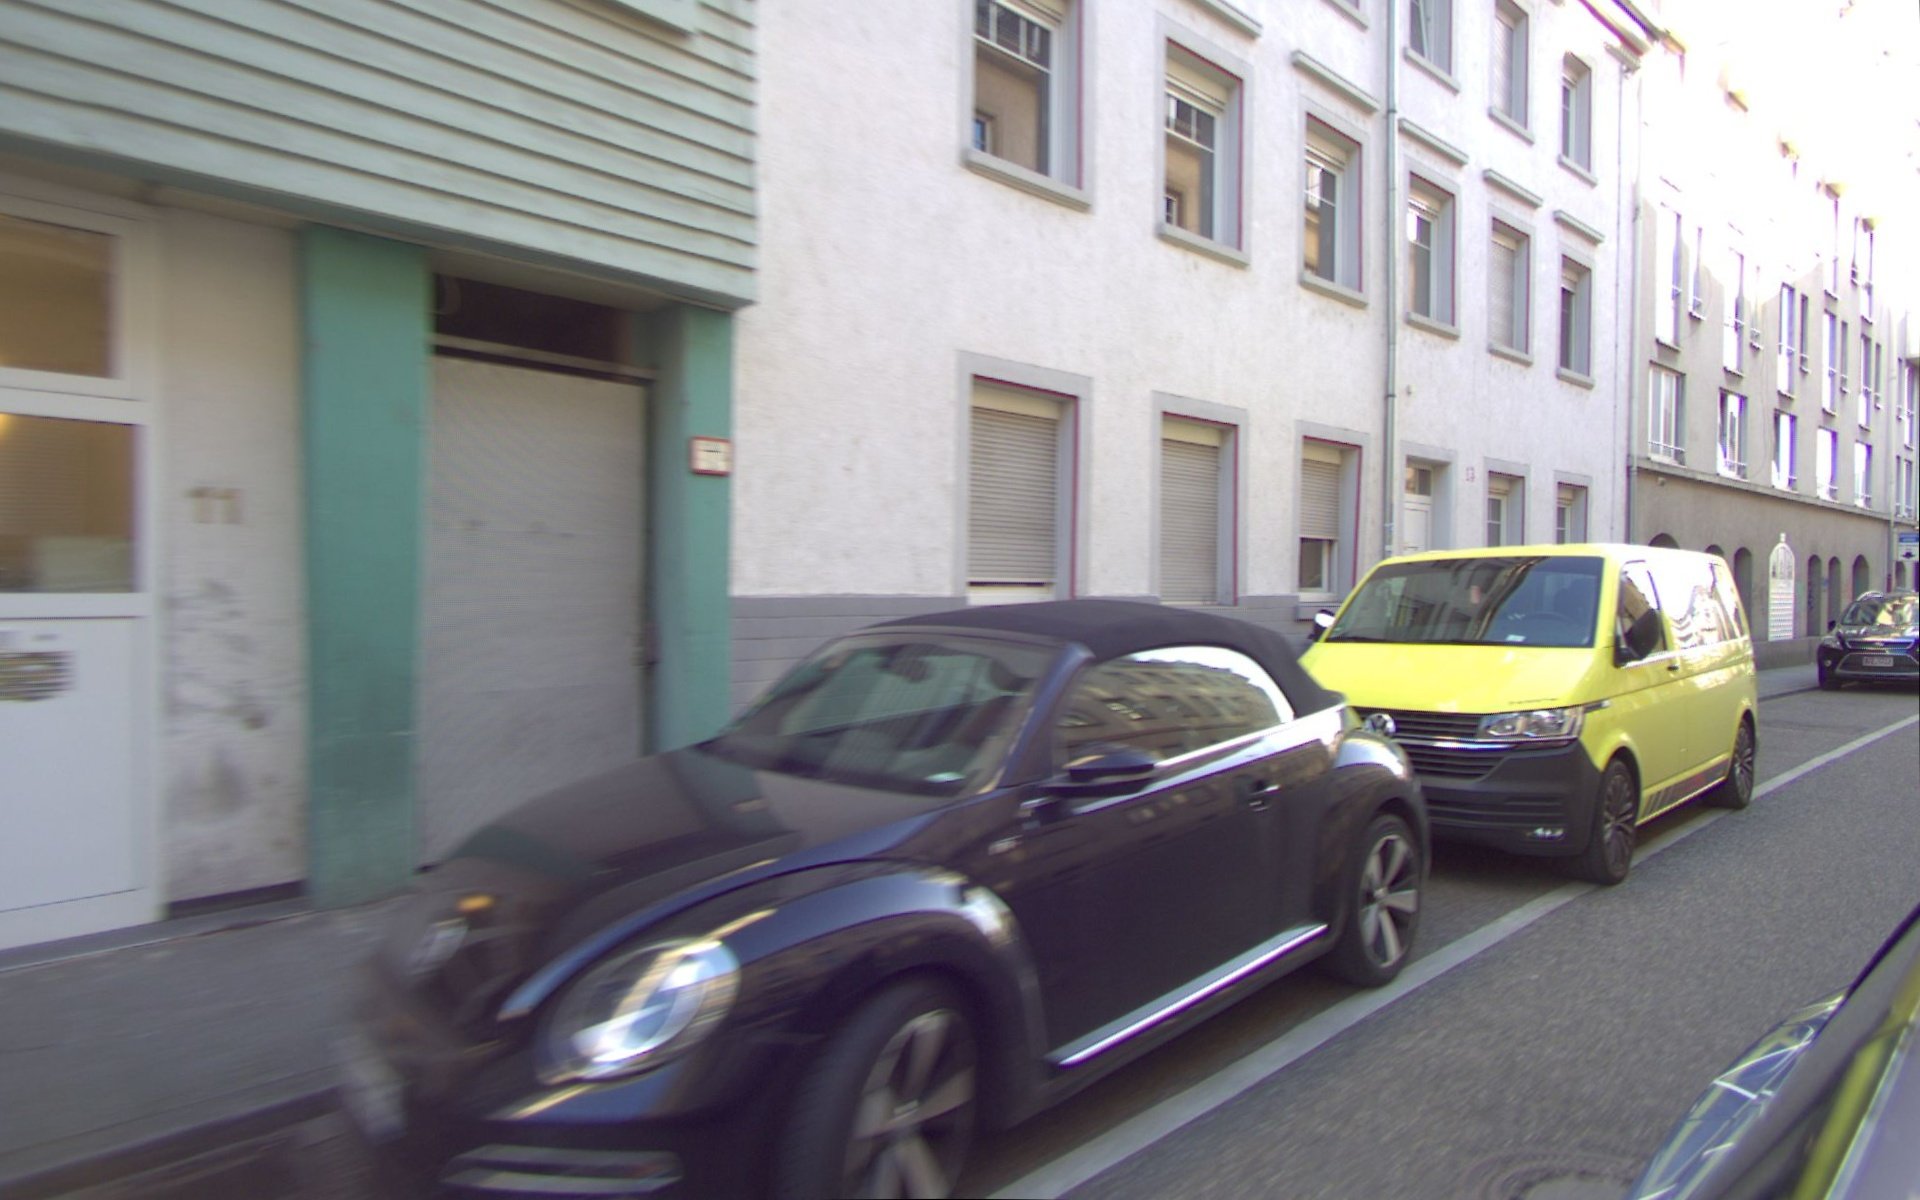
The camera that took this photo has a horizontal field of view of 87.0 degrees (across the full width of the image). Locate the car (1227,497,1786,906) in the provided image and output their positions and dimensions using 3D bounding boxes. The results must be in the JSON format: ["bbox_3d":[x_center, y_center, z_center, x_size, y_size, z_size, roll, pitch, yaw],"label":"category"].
[{"bbox_3d":[4.022,0.450,7.010,4.761,1.905,1.886,0,1,-41],"label":"car"}]

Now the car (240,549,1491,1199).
[{"bbox_3d":[0.148,0.658,3.666,4.295,1.508,1.885,0,1,-44],"label":"car"}]

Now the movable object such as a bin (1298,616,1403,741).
[{"bbox_3d":[3.739,0.726,9.689,0.696,1.063,0.607,0,6,-42],"label":"movable object such as a bin"}]

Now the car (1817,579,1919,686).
[{"bbox_3d":[16.574,0.502,17.448,4.410,1.675,1.830,0,0,-37],"label":"car"}]
